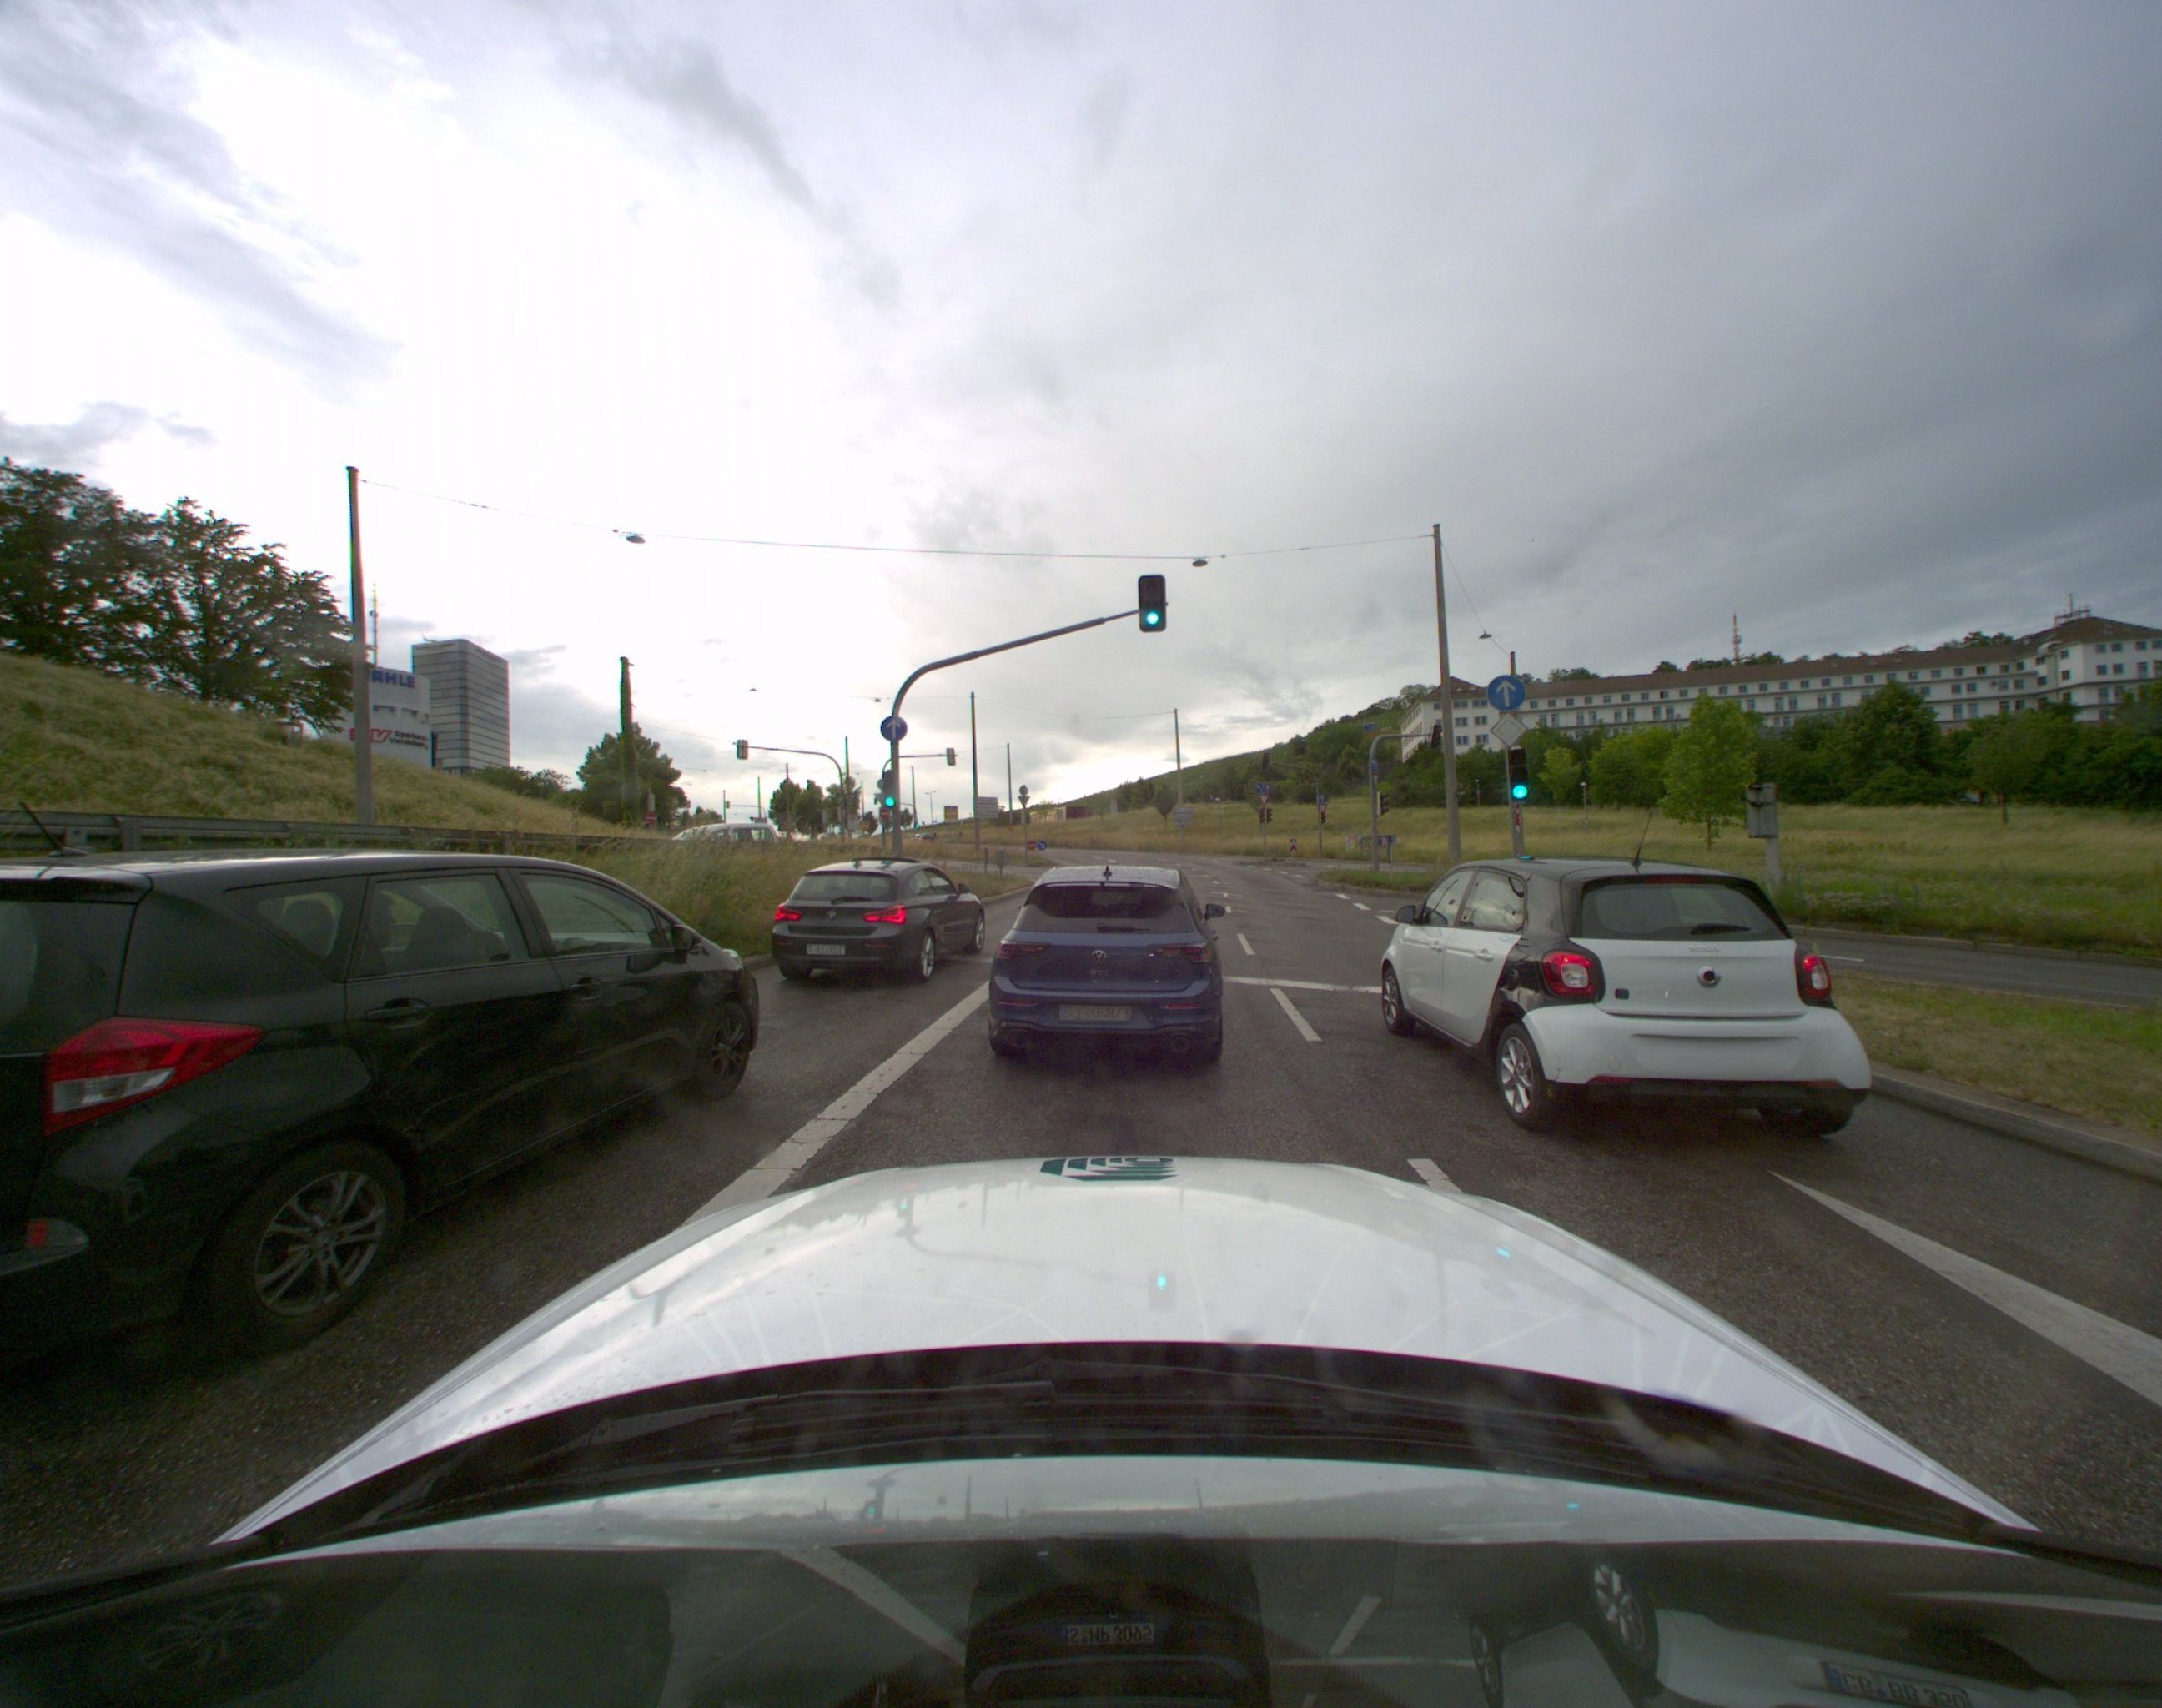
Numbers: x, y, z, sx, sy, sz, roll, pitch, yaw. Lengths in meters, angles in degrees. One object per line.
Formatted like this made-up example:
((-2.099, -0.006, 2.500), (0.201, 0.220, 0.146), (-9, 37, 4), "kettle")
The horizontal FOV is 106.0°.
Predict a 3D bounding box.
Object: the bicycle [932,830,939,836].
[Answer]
((-22.335, -3.224, 124.634), (0.521, 0.775, 1.605), (1, 0, -31), "bicycle")

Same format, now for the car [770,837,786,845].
((-59.093, -2.474, 158.695), (2.008, 1.477, 4.455), (0, -1, -33), "car")

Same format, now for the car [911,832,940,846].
((-18.032, -1.720, 94.205), (2.005, 1.618, 4.808), (1, 0, -28), "car")

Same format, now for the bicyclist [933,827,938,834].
((-22.295, -3.550, 124.601), (0.526, 1.046, 0.575), (2, 0, -32), "bicyclist")

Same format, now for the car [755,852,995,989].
((-2.484, 0.736, 10.960), (1.693, 1.459, 4.123), (-1, 0, 7), "car")

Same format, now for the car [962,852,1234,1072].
((0.339, 0.728, 7.383), (1.815, 1.460, 3.816), (-1, 0, 7), "car")

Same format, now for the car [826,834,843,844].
((-40.764, -2.529, 134.770), (2.004, 1.636, 4.383), (2, 0, -27), "car")

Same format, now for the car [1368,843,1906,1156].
((3.310, 0.732, 5.717), (1.649, 1.503, 3.456), (-1, -1, 6), "car")

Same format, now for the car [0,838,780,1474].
((-3.090, 0.706, 3.883), (1.634, 1.504, 3.783), (1, 0, 4), "car")

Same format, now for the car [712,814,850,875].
((-9.882, -0.243, 27.312), (1.801, 1.850, 4.720), (-1, -1, 18), "car")
